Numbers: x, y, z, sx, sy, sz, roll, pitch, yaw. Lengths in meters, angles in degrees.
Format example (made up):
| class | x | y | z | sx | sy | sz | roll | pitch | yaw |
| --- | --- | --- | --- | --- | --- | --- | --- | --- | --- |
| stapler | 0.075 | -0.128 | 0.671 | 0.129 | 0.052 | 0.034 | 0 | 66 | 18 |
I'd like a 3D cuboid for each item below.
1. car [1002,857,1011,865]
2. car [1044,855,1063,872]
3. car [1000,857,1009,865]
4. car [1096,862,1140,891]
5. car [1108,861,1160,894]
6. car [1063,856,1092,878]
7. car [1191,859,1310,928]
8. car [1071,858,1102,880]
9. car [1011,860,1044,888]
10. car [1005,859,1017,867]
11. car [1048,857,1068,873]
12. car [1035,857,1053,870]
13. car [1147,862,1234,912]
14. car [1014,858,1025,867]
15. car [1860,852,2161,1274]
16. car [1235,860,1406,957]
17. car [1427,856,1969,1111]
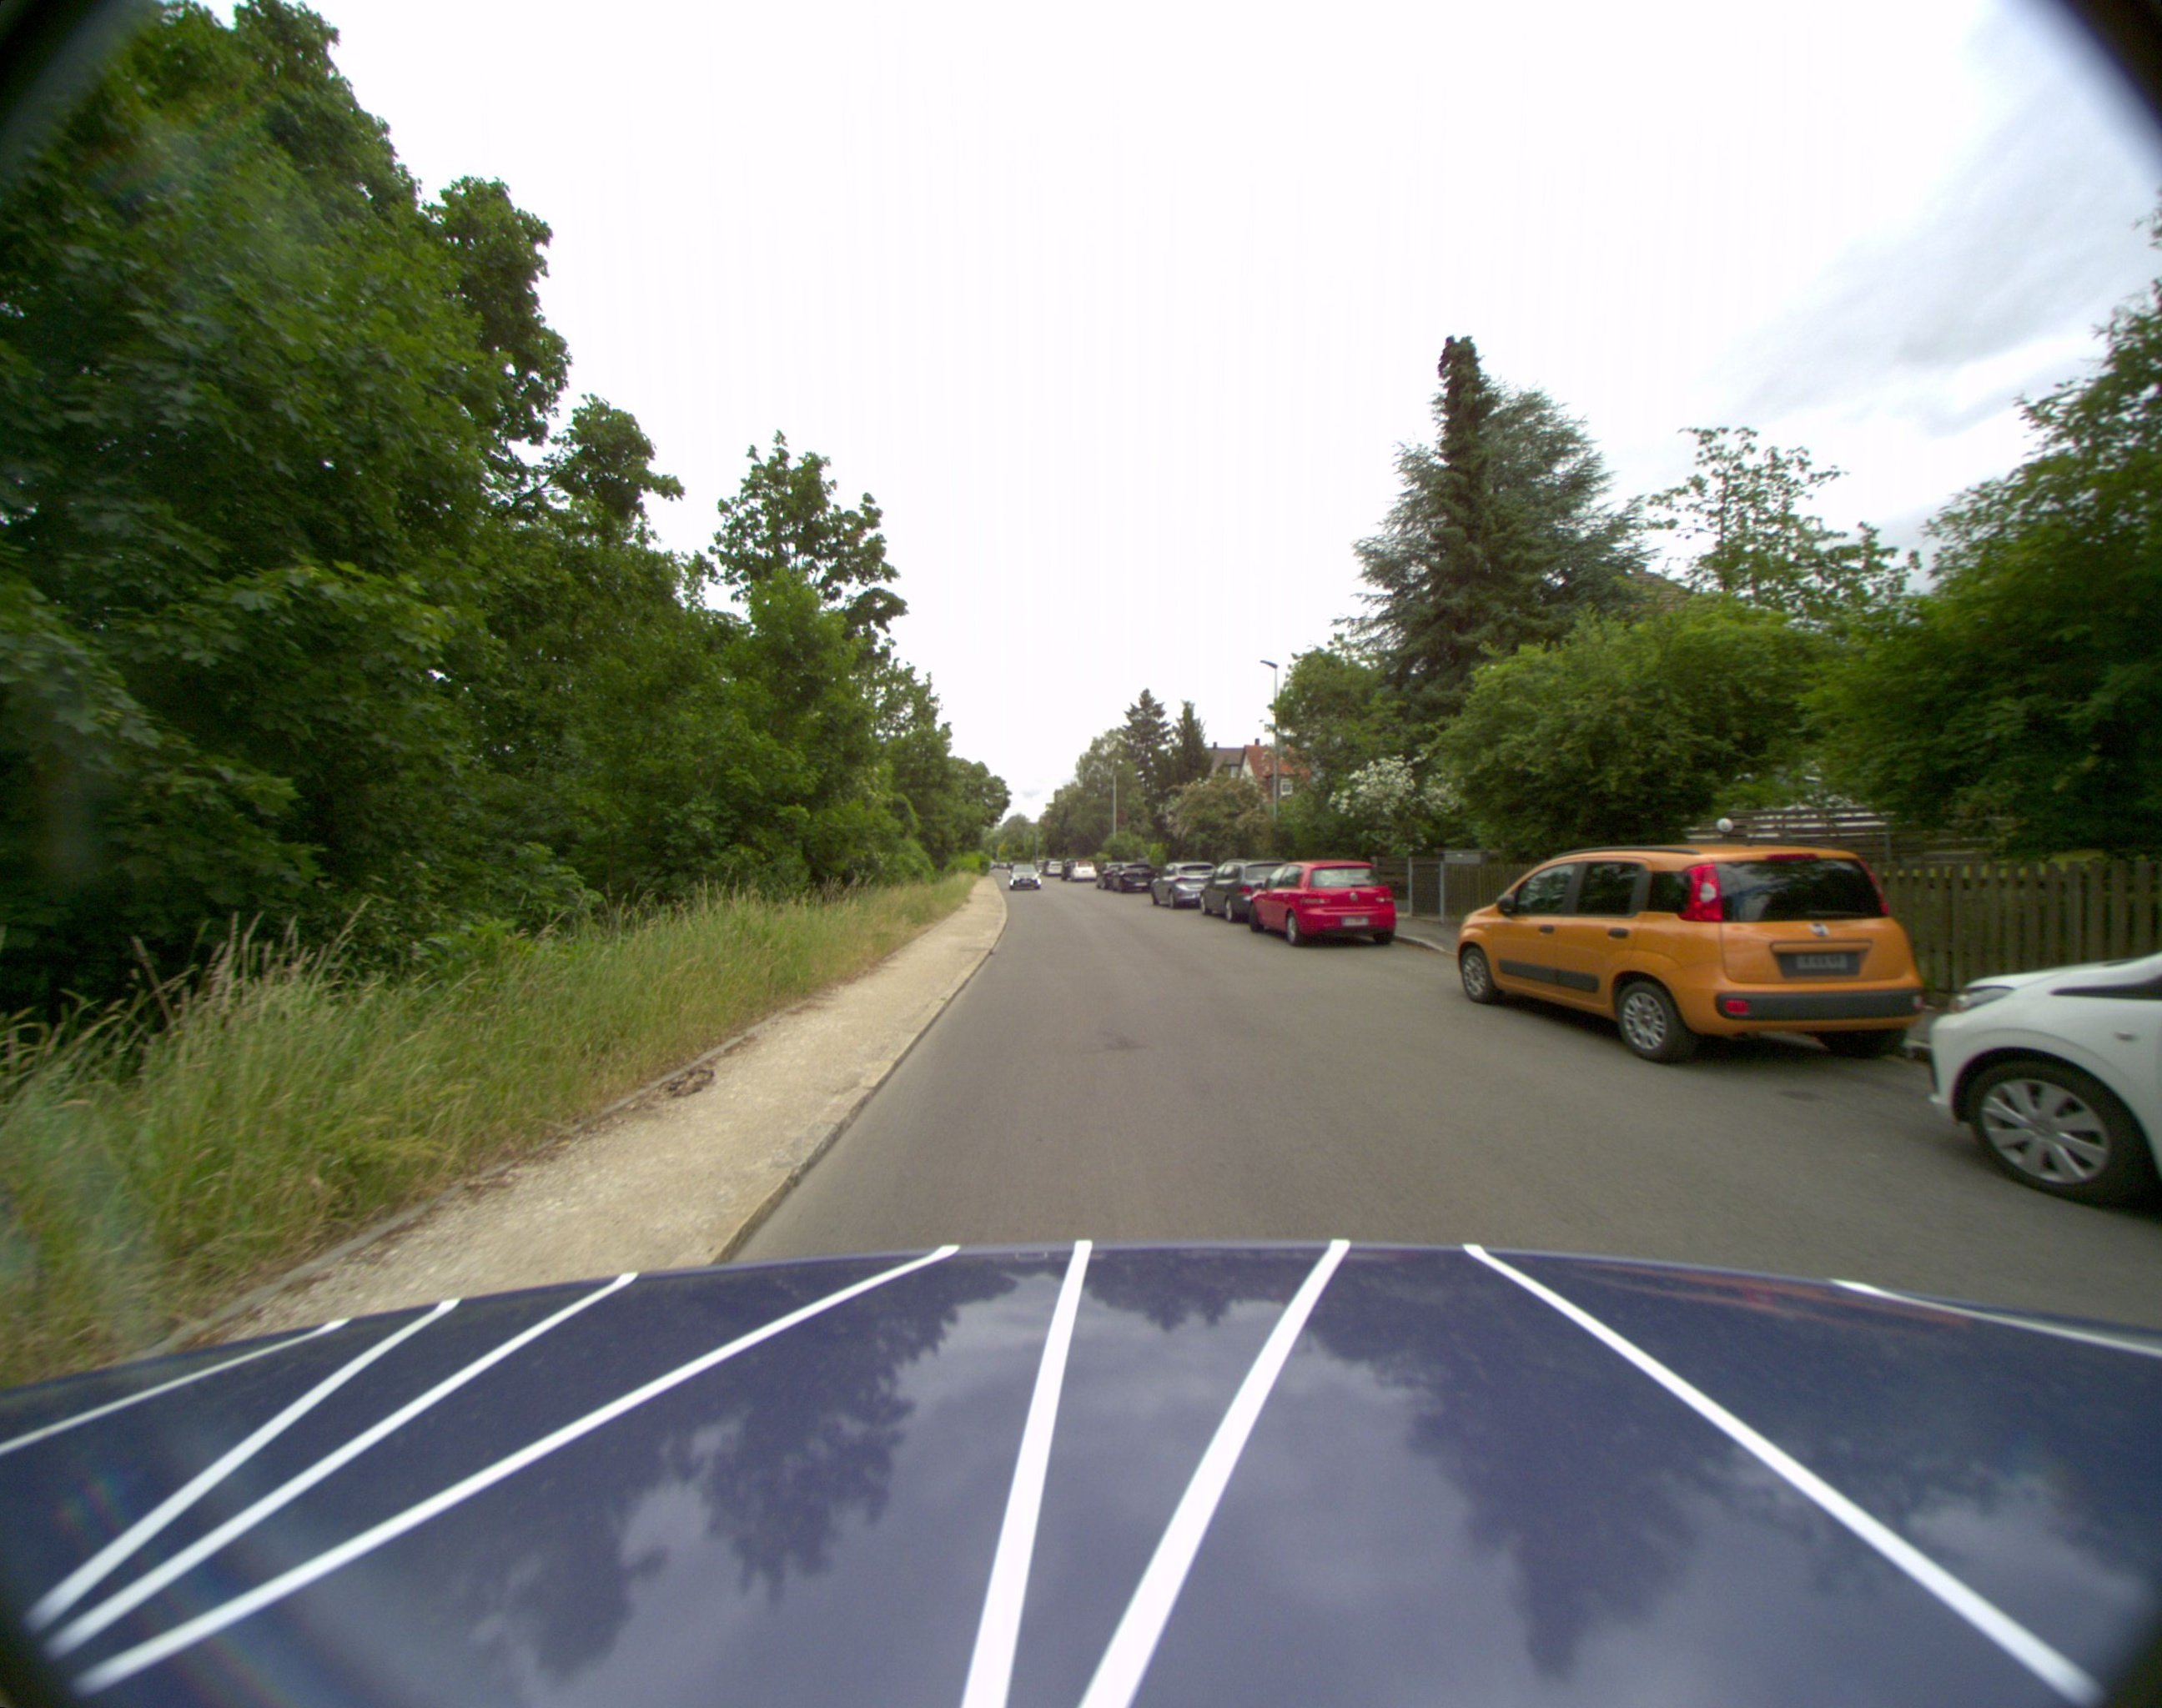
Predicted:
| class | x | y | z | sx | sy | sz | roll | pitch | yaw |
| --- | --- | --- | --- | --- | --- | --- | --- | --- | --- |
| car | -17.630 | 1.687 | 179.486 | 1.924 | 1.670 | 4.191 | -2 | 0 | -9 |
| car | -2.941 | 0.998 | 81.731 | 1.712 | 1.789 | 4.295 | -2 | 0 | -6 |
| car | -18.563 | 1.674 | 184.360 | 1.924 | 1.670 | 4.191 | -2 | 0 | -9 |
| car | 1.950 | 1.201 | 41.225 | 1.712 | 1.408 | 4.147 | -2 | 0 | -7 |
| car | 2.494 | 1.079 | 36.499 | 1.712 | 1.408 | 4.129 | -2 | 0 | -7 |
| car | -0.332 | 1.027 | 60.617 | 1.797 | 1.654 | 4.389 | -2 | 0 | -7 |
| car | 4.144 | 0.898 | 19.318 | 1.712 | 1.505 | 4.494 | -2 | 0 | -4 |
| car | 0.372 | 1.052 | 55.863 | 1.712 | 1.502 | 3.943 | -2 | 0 | -7 |
| car | -3.141 | 1.123 | 44.052 | 1.712 | 1.466 | 4.193 | -2 | 0 | -6 |
| car | -14.393 | 1.859 | 155.896 | 1.924 | 1.670 | 4.191 | -2 | 0 | -11 |
| car | -2.303 | 1.095 | 75.846 | 1.712 | 1.502 | 4.552 | -2 | 0 | -5 |
| car | -4.597 | 1.166 | 94.356 | 1.801 | 1.598 | 4.727 | -2 | 0 | -7 |
| car | 3.405 | 0.980 | 24.418 | 1.712 | 1.402 | 4.158 | -2 | 0 | -7 |
| car | -11.852 | 1.612 | 145.336 | 1.923 | 1.670 | 4.193 | -2 | 0 | -6 |
| car | 4.722 | 0.758 | 2.027 | 1.592 | 1.505 | 3.590 | -2 | 0 | 0 |
| car | 4.328 | 0.897 | 14.486 | 1.711 | 1.505 | 4.362 | -2 | 0 | -2 |
| car | 4.617 | 0.794 | 6.466 | 1.548 | 1.505 | 3.643 | -2 | 0 | -2 |
